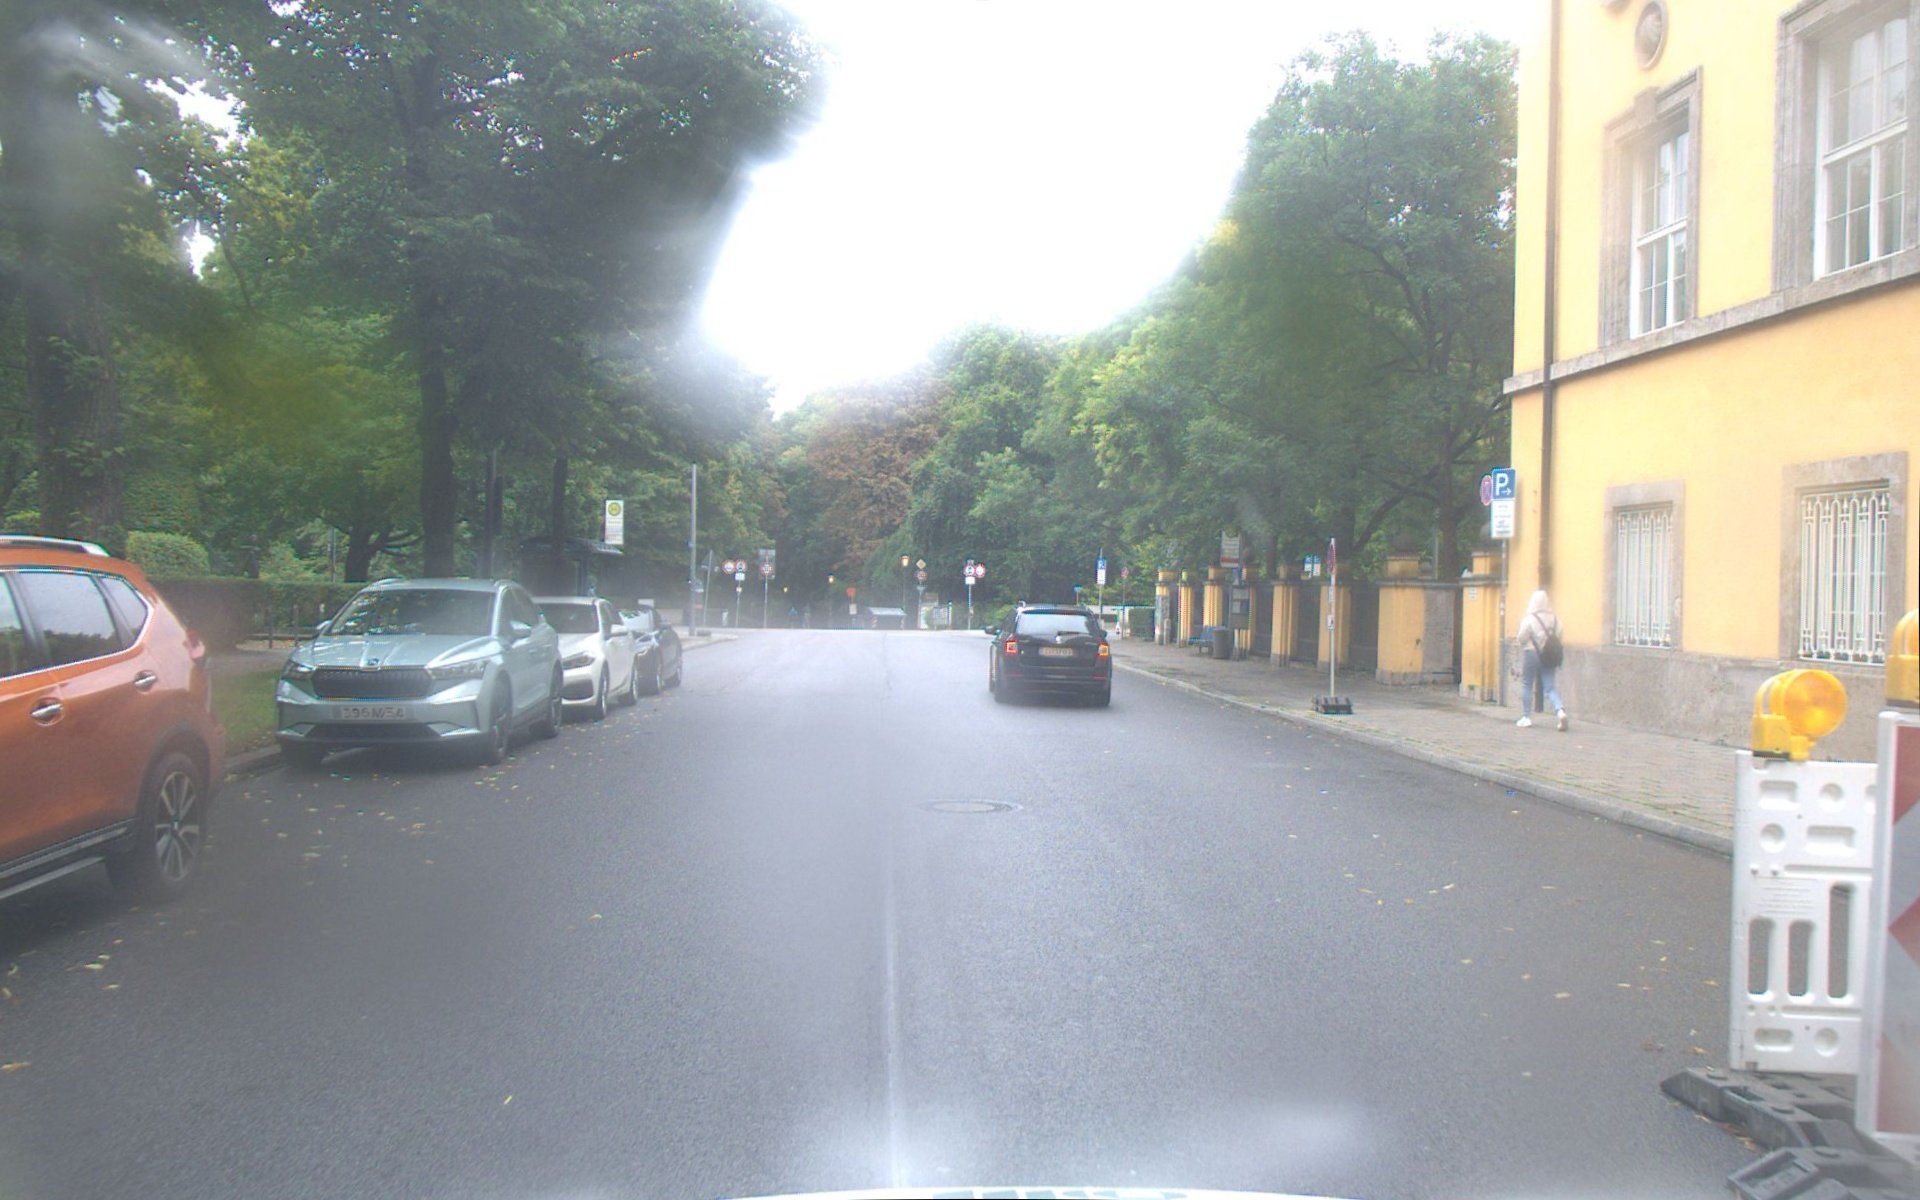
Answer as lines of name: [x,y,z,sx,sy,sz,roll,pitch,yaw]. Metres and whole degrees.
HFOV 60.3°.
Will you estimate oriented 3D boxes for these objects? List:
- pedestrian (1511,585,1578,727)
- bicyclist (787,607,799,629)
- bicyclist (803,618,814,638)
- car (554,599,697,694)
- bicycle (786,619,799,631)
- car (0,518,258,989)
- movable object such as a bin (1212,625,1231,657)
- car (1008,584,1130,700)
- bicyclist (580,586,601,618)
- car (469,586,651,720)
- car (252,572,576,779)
pedestrian: [7.011,0.658,19.849,0.549,1.666,0.571,-1,0,-4]
bicyclist: [-11.703,1.247,115.903,0.669,1.530,0.898,1,0,-12]
bicyclist: [-9.404,1.718,102.512,0.668,1.208,0.480,1,0,-9]
car: [-5.242,0.687,26.373,1.545,1.366,4.043,1,0,-2]
bicycle: [-11.717,1.732,115.914,0.668,0.844,2.103,1,-1,-13]
car: [-4.502,0.561,6.287,1.835,1.758,4.638,1,0,-3]
movable object such as a bin: [6.580,1.030,41.616,0.388,0.794,0.465,1,0,-1]
car: [1.607,0.601,25.490,1.545,1.611,4.043,1,0,-1]
bicyclist: [-15.205,0.095,68.070,0.592,1.305,0.674,1,0,-36]
car: [-4.983,0.614,21.101,1.546,1.523,4.196,1,0,-4]
car: [-4.876,0.606,15.456,1.779,1.629,4.510,1,0,-4]
